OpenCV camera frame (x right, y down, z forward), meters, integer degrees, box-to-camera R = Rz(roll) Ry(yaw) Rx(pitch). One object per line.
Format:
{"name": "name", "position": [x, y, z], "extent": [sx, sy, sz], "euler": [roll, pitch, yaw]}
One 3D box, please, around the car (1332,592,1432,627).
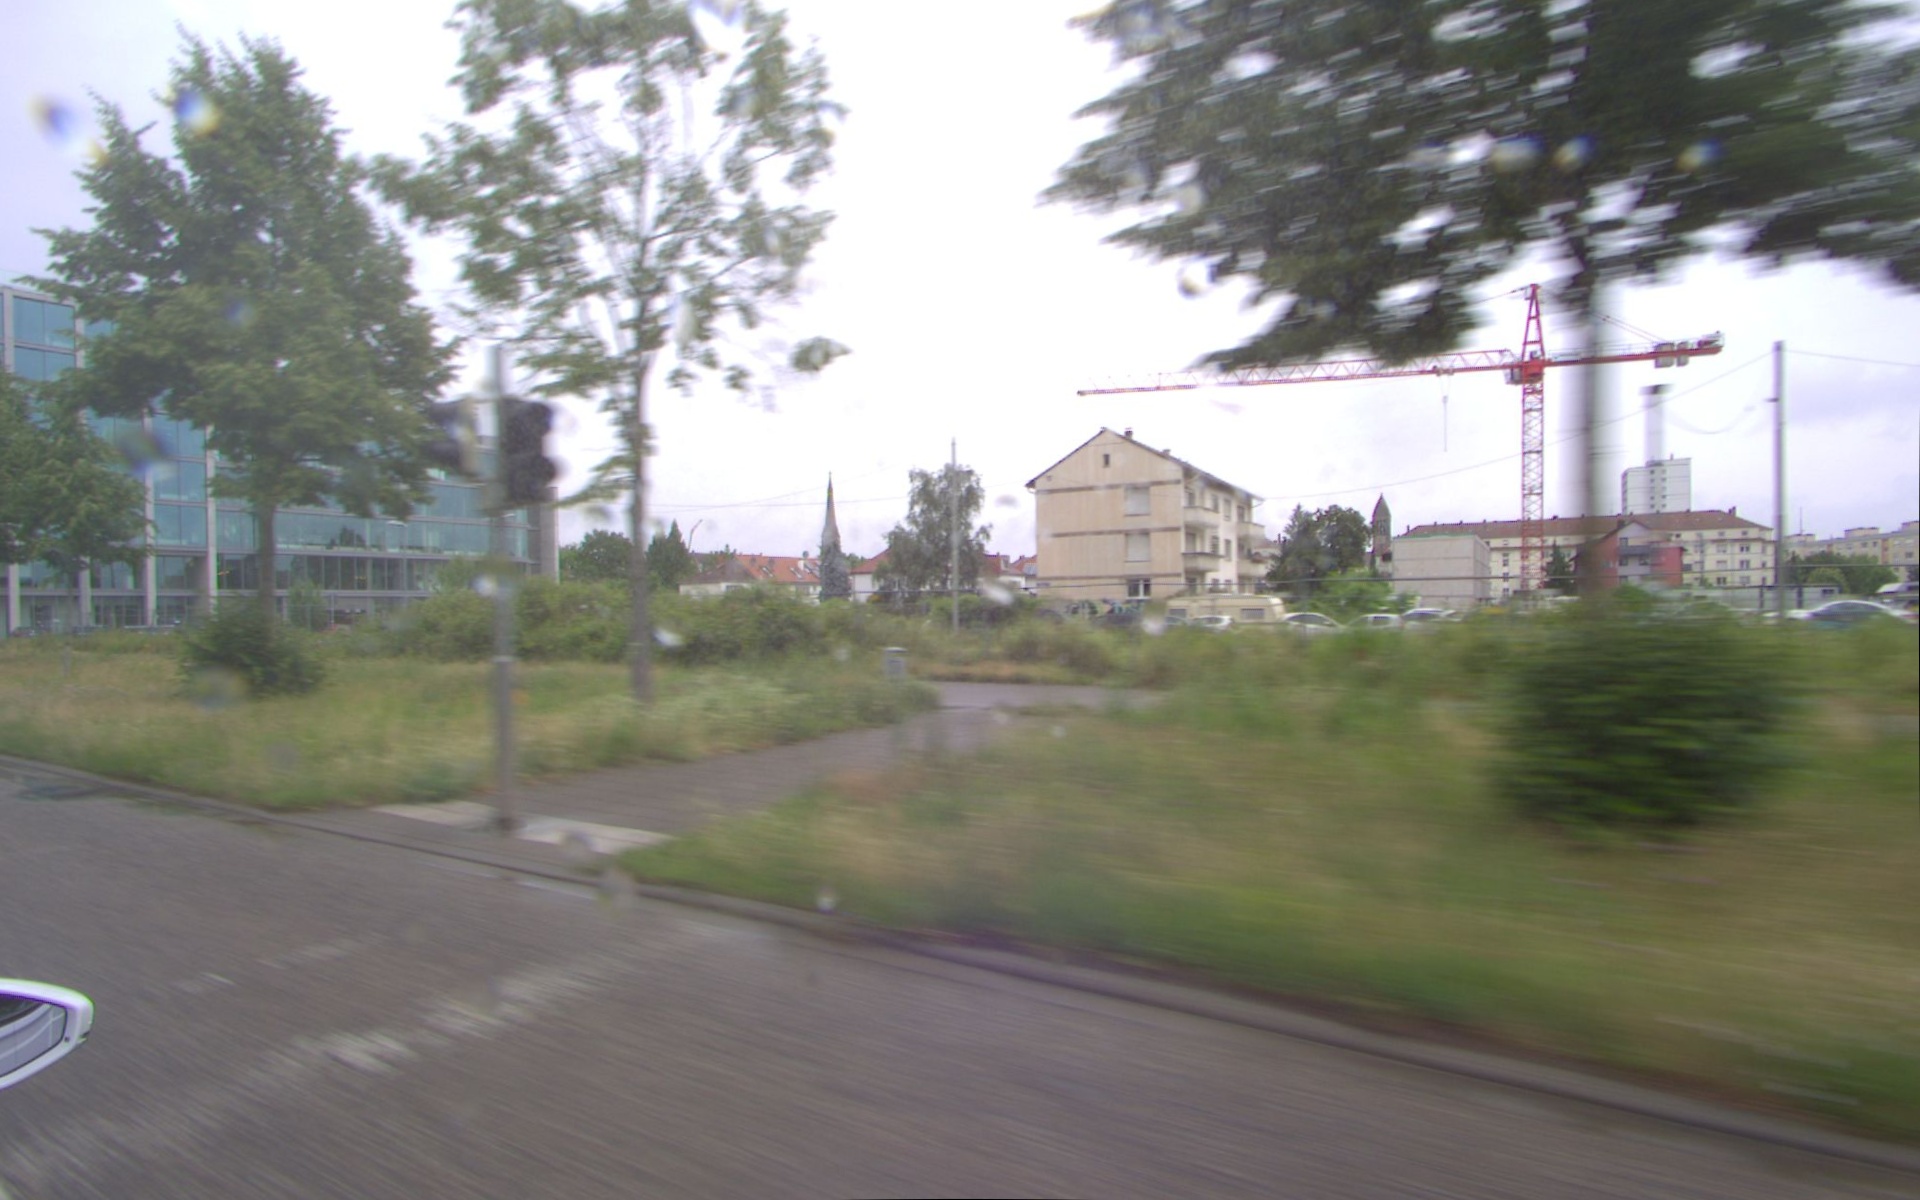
{"name": "car", "position": [24.335, 0.568, 57.755], "extent": [5.127, 1.919, 2.160], "euler": [-1, 0, 29]}

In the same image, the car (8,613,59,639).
{"name": "car", "position": [-57.618, 1.608, 62.256], "extent": [3.953, 1.601, 1.847], "euler": [-1, -1, 40]}

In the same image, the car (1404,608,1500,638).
{"name": "car", "position": [23.604, 1.077, 48.043], "extent": [3.976, 1.370, 1.692], "euler": [-1, 0, 34]}

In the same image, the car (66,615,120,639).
{"name": "car", "position": [-55.687, 1.707, 64.298], "extent": [4.500, 1.474, 1.848], "euler": [-1, -1, 38]}

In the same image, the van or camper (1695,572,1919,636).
{"name": "van or camper", "position": [33.439, 0.225, 39.810], "extent": [6.549, 2.336, 2.500], "euler": [-1, -2, 30]}

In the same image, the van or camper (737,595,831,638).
{"name": "van or camper", "position": [-12.943, 1.240, 73.475], "extent": [6.681, 3.033, 2.900], "euler": [-1, -1, 33]}

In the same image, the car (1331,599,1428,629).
{"name": "car", "position": [19.809, 0.665, 47.330], "extent": [3.976, 1.370, 1.692], "euler": [-1, -1, 34]}

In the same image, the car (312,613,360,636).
{"name": "car", "position": [-46.752, 1.817, 74.987], "extent": [3.950, 1.622, 1.848], "euler": [-1, -1, 38]}

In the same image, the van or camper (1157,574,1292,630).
{"name": "van or camper", "position": [13.487, 0.150, 51.240], "extent": [6.302, 2.724, 2.305], "euler": [-1, 0, 30]}
